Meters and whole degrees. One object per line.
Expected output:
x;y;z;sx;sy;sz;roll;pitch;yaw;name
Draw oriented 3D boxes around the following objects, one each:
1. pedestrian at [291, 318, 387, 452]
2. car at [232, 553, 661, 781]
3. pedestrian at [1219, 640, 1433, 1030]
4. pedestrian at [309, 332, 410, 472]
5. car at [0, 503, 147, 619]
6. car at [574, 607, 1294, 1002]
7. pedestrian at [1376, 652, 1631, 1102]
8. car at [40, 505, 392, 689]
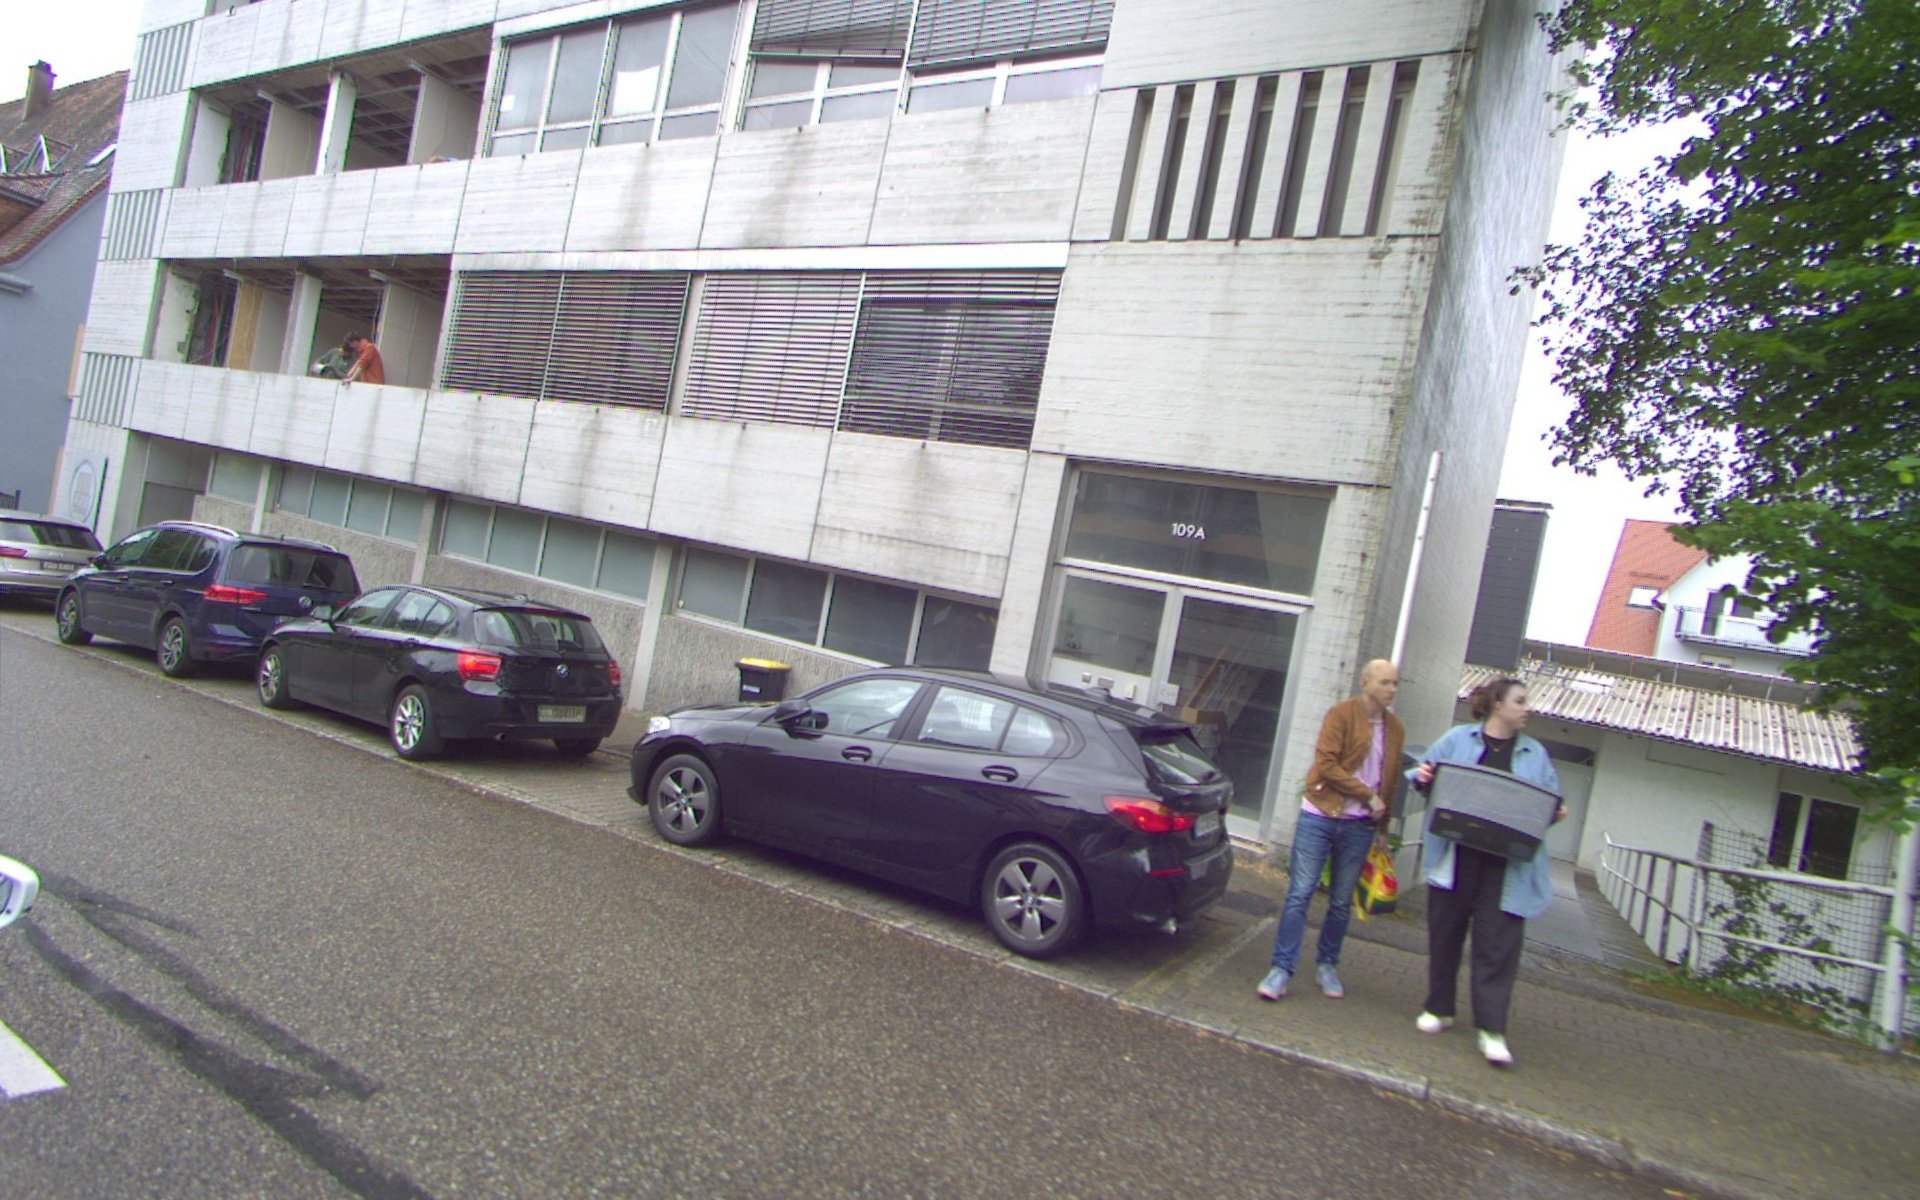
-10.630;-3.649;17.235;0.846;2.037;0.909;6;-2;31;pedestrian
-5.005;0.536;9.619;4.183;1.465;1.750;7;-1;34;car
2.055;1.205;5.550;0.810;1.802;1.074;7;-2;26;pedestrian
-9.874;-3.229;16.555;0.846;2.037;0.909;6;-2;31;pedestrian
-15.164;-0.767;15.950;4.449;1.465;1.966;7;-1;30;car
-0.250;1.100;6.838;4.367;1.451;1.999;7;-2;30;car
2.622;1.243;4.929;0.810;1.801;1.074;7;-3;27;pedestrian
-8.880;-0.061;11.947;4.090;1.618;1.732;7;-1;30;car
